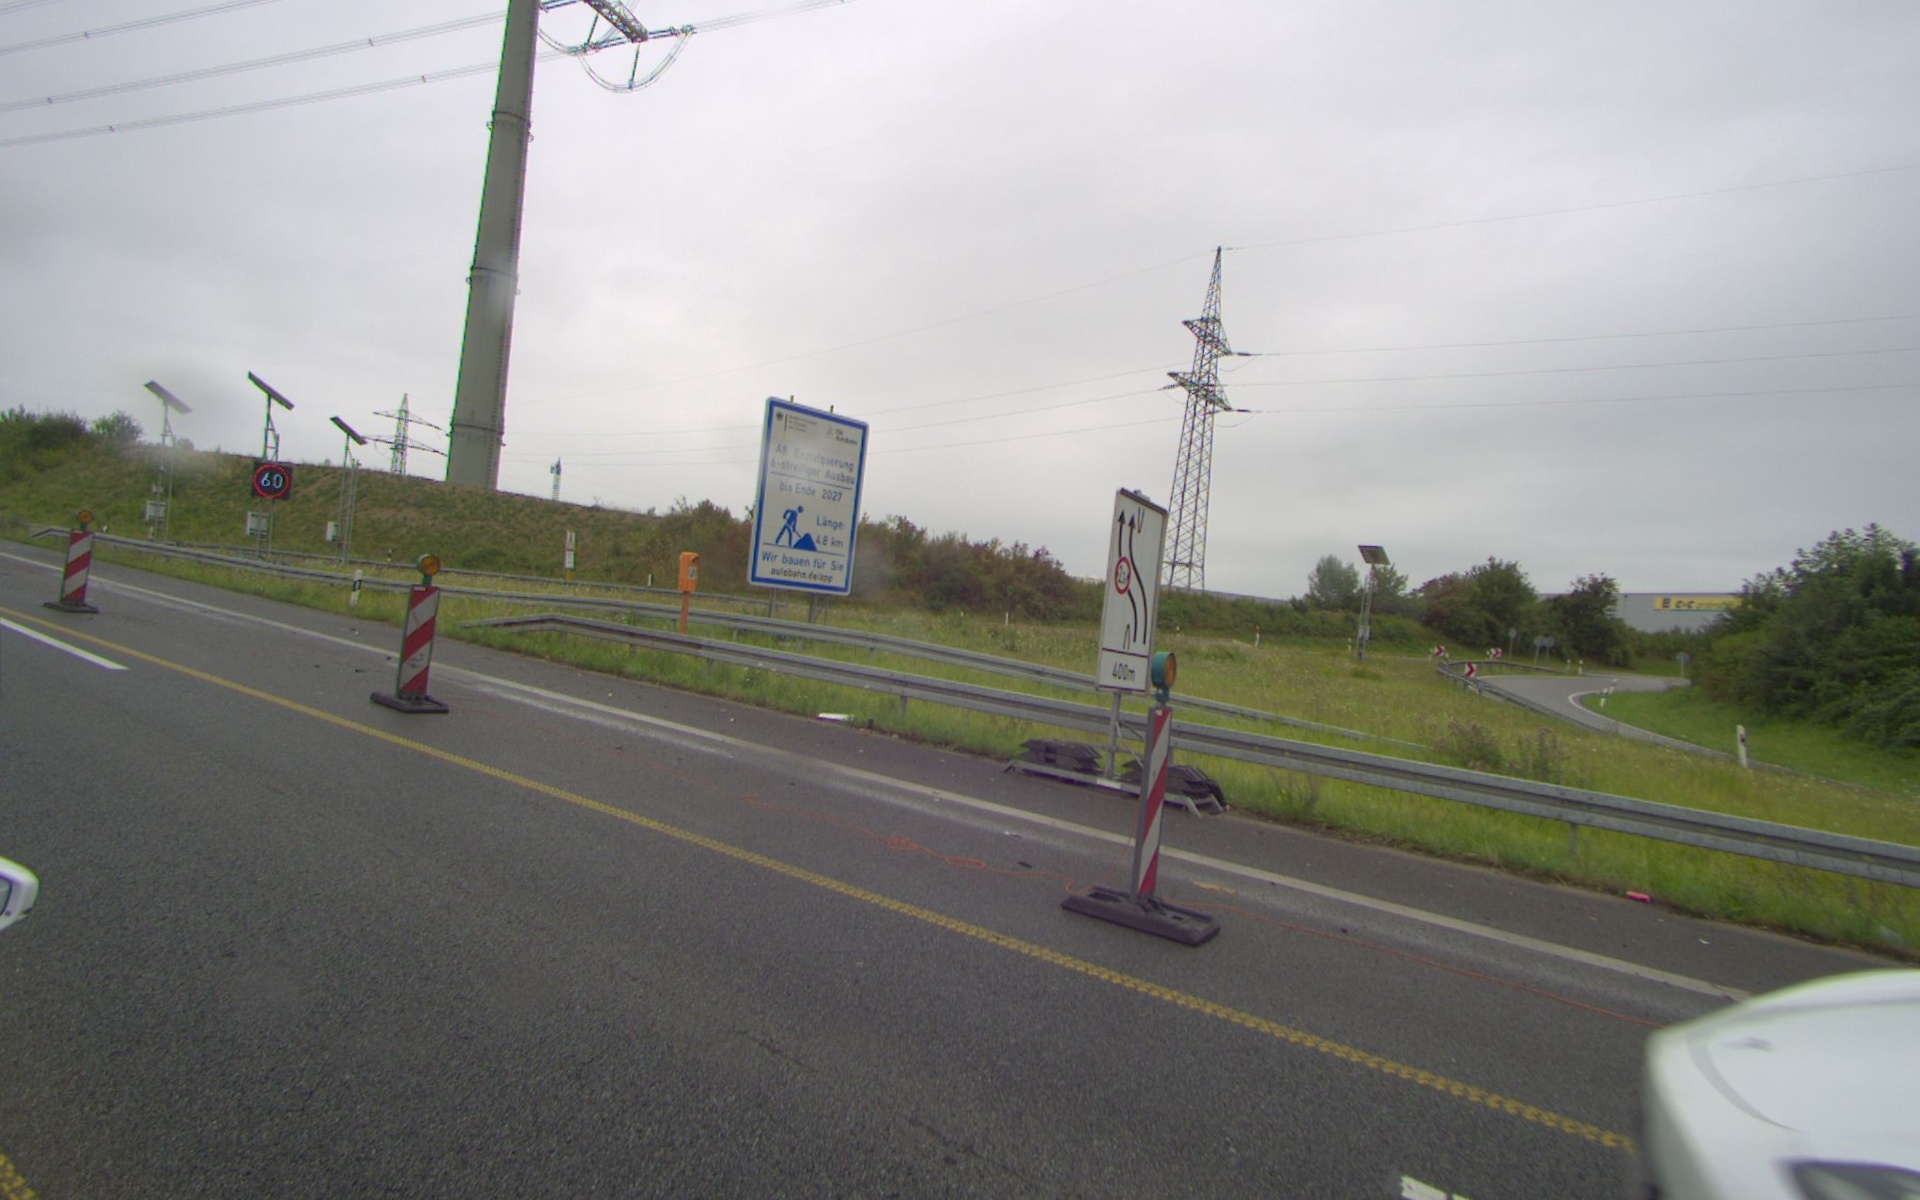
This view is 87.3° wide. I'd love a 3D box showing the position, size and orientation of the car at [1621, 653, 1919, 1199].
[{"bbox_3d":[3.989,1.245,0.692,5.706,1.614,2.049,6,-2,32],"label":"car"}]
